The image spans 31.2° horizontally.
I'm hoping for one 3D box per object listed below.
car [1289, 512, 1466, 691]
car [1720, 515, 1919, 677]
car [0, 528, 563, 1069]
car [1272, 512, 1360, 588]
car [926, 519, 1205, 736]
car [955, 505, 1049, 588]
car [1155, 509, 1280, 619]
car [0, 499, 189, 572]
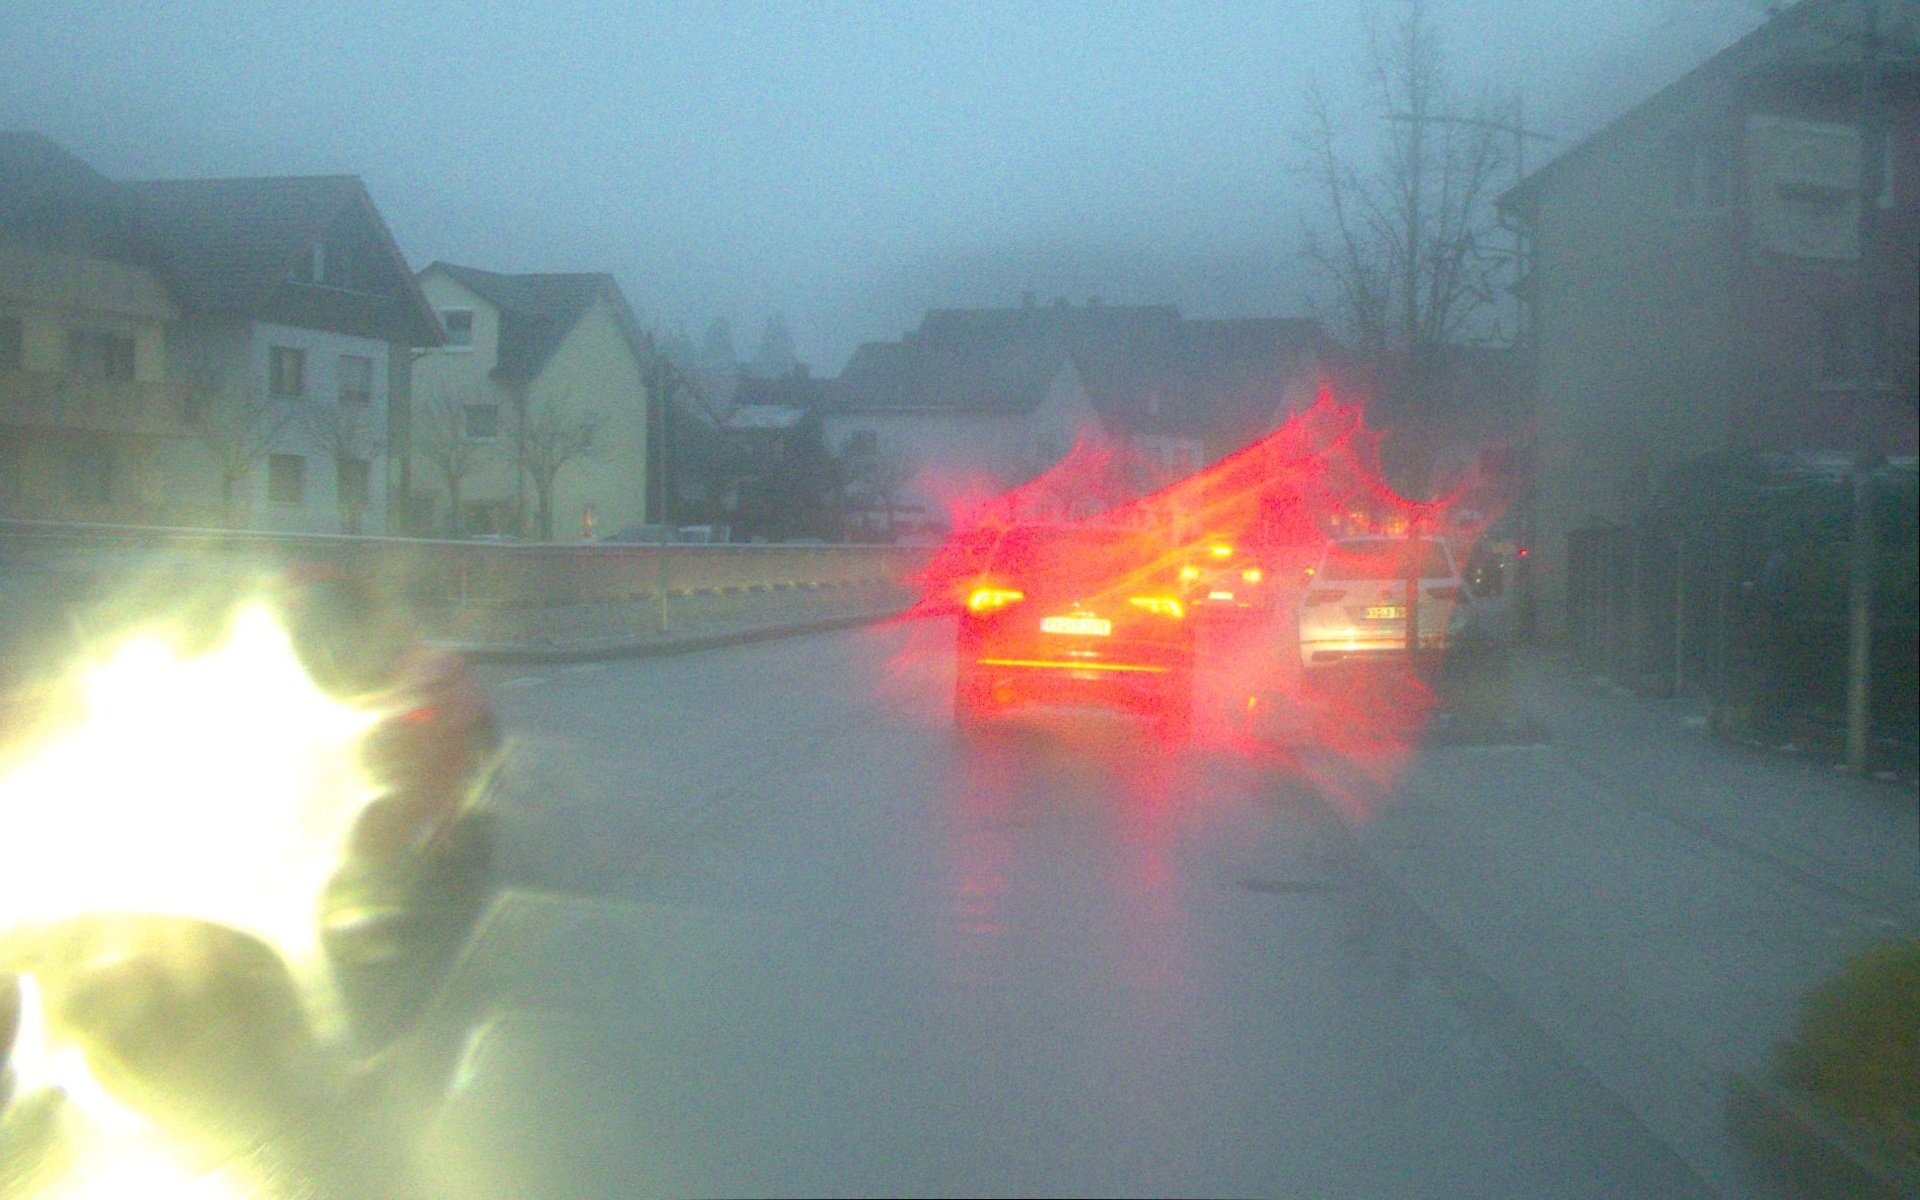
[{"bbox_3d":[4.427,-0.037,36.590,1.745,1.779,4.335,0,1,7],"label":"car"},{"bbox_3d":[9.142,-0.094,36.551,1.970,1.577,4.333,1,2,13],"label":"car"},{"bbox_3d":[-2.841,0.498,11.828,1.907,1.483,4.567,1,1,7],"label":"car"},{"bbox_3d":[10.084,-1.384,97.170,1.995,2.007,3.998,2,0,12],"label":"car"},{"bbox_3d":[0.853,0.177,27.215,1.994,1.520,4.000,2,1,2],"label":"car"},{"bbox_3d":[1.107,-1.349,88.343,1.994,2.007,3.999,2,0,6],"label":"car"},{"bbox_3d":[5.065,-0.679,67.237,1.994,2.007,3.998,2,0,10],"label":"car"},{"bbox_3d":[-17.437,-1.281,69.371,1.995,1.303,4.110,4,1,14],"label":"car"}]
